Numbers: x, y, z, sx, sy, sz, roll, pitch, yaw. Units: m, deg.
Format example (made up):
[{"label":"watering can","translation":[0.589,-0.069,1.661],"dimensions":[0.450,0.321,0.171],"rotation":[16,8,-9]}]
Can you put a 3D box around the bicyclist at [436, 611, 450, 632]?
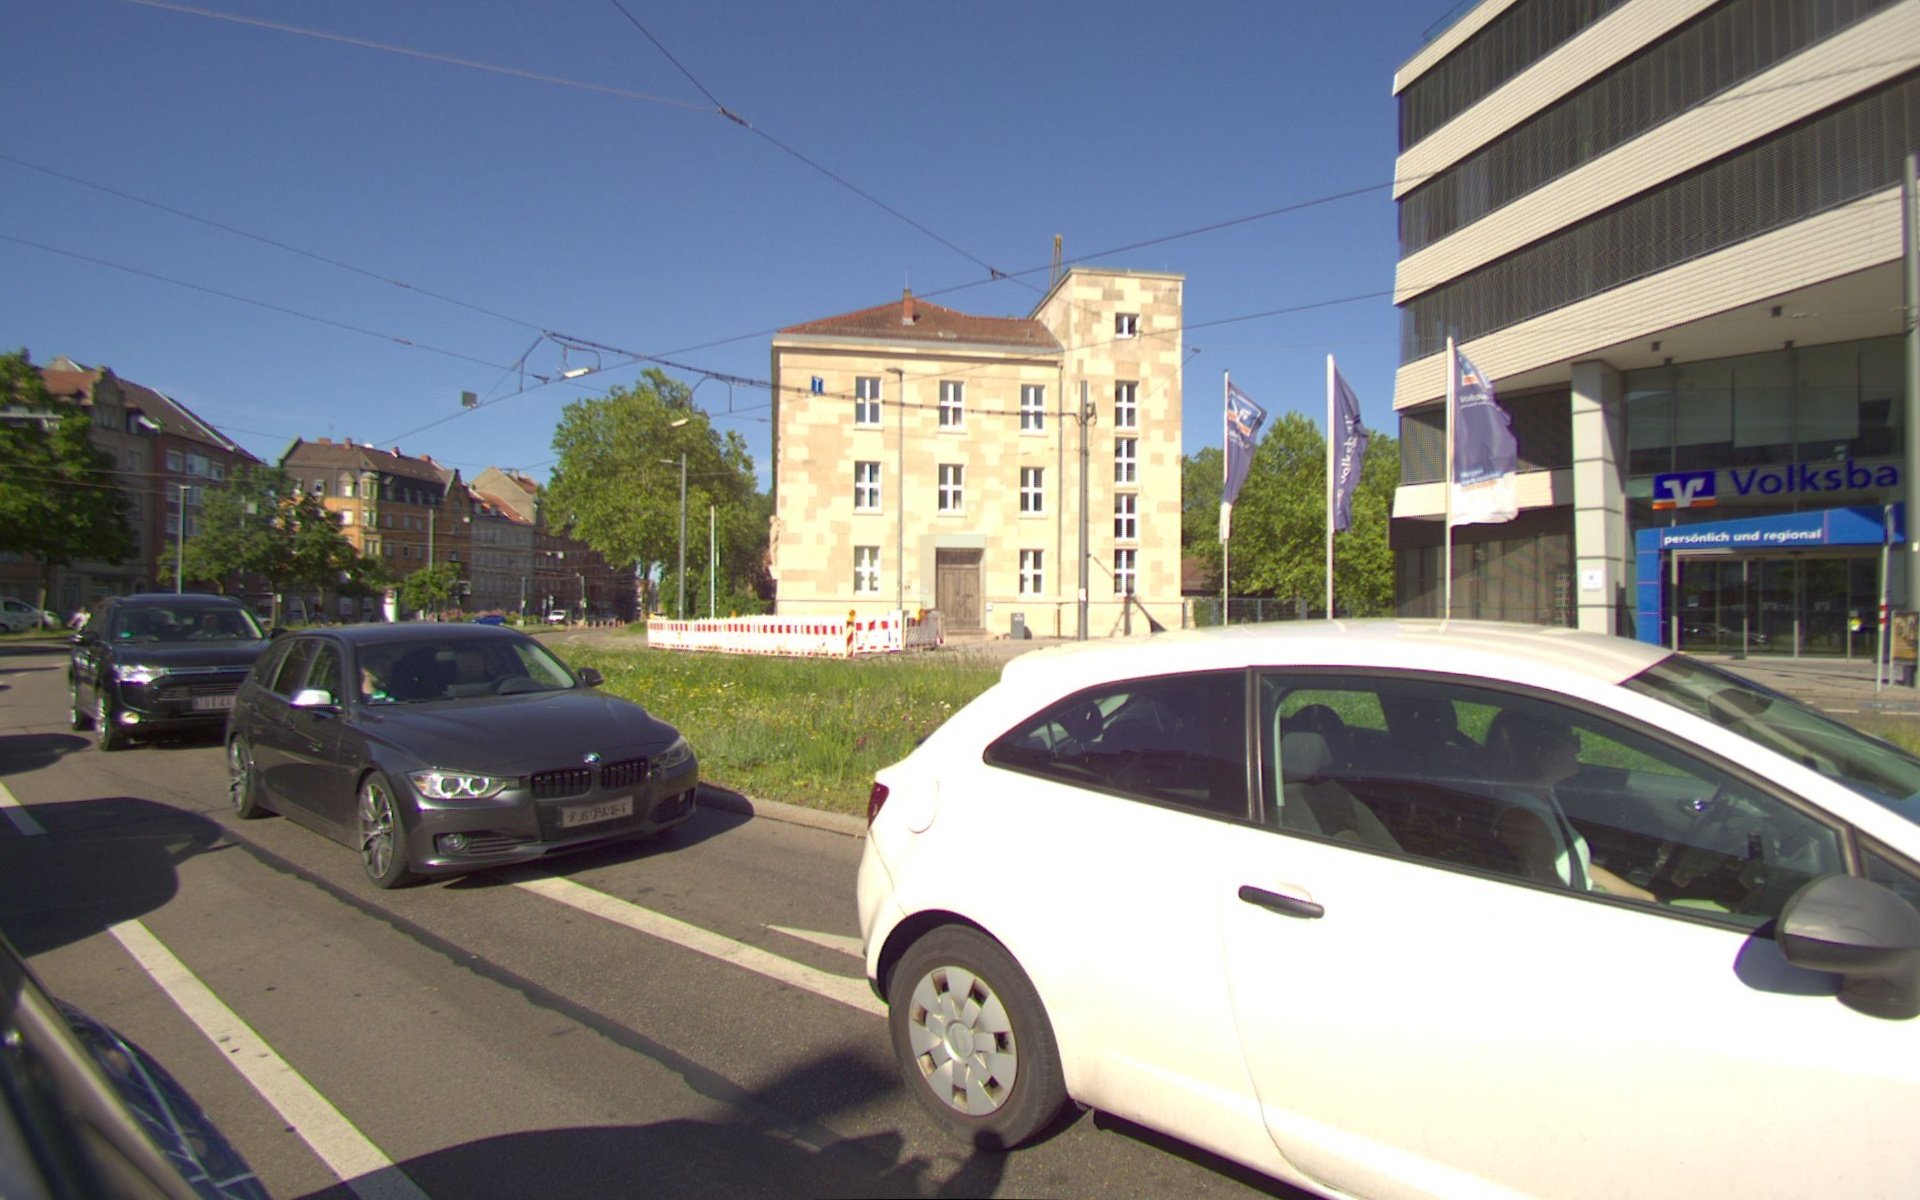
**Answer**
[{"label":"bicyclist","translation":[-49.563,2.052,96.995],"dimensions":[0.836,2.029,1.198],"rotation":[0,-1,-7]}]

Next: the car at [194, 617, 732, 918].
[{"label":"car","translation":[-3.595,0.830,6.882],"dimensions":[4.424,1.377,1.719],"rotation":[-1,0,41]}]

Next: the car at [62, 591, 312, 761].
[{"label":"car","translation":[-9.377,0.776,12.133],"dimensions":[1.817,1.658,4.400],"rotation":[-1,-1,-45]}]

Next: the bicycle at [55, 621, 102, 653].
[{"label":"bicycle","translation":[-38.528,1.617,44.253],"dimensions":[0.705,1.337,1.753],"rotation":[1,-3,-11]}]

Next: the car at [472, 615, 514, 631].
[{"label":"car","translation":[-54.979,2.716,119.149],"dimensions":[4.277,1.896,1.845],"rotation":[2,-2,-36]}]

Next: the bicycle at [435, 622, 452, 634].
[{"label":"bicycle","translation":[-49.553,2.687,97.035],"dimensions":[0.752,1.153,2.287],"rotation":[0,-1,-8]}]

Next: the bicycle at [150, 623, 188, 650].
[{"label":"bicycle","translation":[-40.755,1.863,52.152],"dimensions":[0.746,1.310,2.160],"rotation":[1,-1,-15]}]

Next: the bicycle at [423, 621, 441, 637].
[{"label":"bicycle","translation":[-48.006,2.642,91.987],"dimensions":[0.726,1.371,2.078],"rotation":[0,-1,-6]}]

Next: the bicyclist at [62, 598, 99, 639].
[{"label":"bicyclist","translation":[-38.516,0.821,44.336],"dimensions":[0.704,1.739,1.096],"rotation":[1,-3,-12]}]

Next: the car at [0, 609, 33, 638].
[{"label":"car","translation":[-48.759,1.154,50.391],"dimensions":[3.768,1.390,1.602],"rotation":[2,-2,-41]}]

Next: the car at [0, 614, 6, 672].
[{"label":"car","translation":[-25.454,1.111,25.063],"dimensions":[1.809,1.563,4.160],"rotation":[2,-1,-32]}]

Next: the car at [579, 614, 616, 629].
[{"label":"car","translation":[-42.732,2.516,119.270],"dimensions":[4.001,1.669,1.772],"rotation":[1,-1,-16]}]

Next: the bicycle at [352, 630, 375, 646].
[{"label":"bicycle","translation":[-45.393,2.861,77.055],"dimensions":[0.659,1.206,2.157],"rotation":[0,-1,-5]}]

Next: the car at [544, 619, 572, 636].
[{"label":"car","translation":[-50.091,3.381,126.239],"dimensions":[1.953,2.101,4.719],"rotation":[1,-1,-5]}]

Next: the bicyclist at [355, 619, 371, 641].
[{"label":"bicyclist","translation":[-45.369,2.264,76.948],"dimensions":[0.659,1.641,0.972],"rotation":[0,-1,-5]}]

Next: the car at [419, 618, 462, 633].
[{"label":"car","translation":[-59.105,2.901,115.275],"dimensions":[4.002,1.669,1.771],"rotation":[1,-1,-13]}]

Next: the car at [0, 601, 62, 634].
[{"label":"car","translation":[-49.924,0.894,52.797],"dimensions":[4.514,1.680,1.601],"rotation":[2,-2,-43]}]

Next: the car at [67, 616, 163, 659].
[{"label":"car","translation":[-34.454,1.507,41.406],"dimensions":[1.809,1.659,4.162],"rotation":[1,-1,-22]}]

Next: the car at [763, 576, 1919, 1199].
[{"label":"car","translation":[1.484,0.697,2.482],"dimensions":[4.020,1.452,1.714],"rotation":[0,2,40]}]

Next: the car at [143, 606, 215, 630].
[{"label":"car","translation":[-53.924,1.276,69.879],"dimensions":[3.771,1.603,1.601],"rotation":[2,-2,-44]}]

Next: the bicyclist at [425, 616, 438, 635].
[{"label":"bicyclist","translation":[-48.015,2.322,92.026],"dimensions":[0.724,1.707,0.972],"rotation":[0,-1,-6]}]

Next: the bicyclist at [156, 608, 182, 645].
[{"label":"bicyclist","translation":[-40.756,1.356,52.129],"dimensions":[0.797,1.880,0.752],"rotation":[1,0,-15]}]
